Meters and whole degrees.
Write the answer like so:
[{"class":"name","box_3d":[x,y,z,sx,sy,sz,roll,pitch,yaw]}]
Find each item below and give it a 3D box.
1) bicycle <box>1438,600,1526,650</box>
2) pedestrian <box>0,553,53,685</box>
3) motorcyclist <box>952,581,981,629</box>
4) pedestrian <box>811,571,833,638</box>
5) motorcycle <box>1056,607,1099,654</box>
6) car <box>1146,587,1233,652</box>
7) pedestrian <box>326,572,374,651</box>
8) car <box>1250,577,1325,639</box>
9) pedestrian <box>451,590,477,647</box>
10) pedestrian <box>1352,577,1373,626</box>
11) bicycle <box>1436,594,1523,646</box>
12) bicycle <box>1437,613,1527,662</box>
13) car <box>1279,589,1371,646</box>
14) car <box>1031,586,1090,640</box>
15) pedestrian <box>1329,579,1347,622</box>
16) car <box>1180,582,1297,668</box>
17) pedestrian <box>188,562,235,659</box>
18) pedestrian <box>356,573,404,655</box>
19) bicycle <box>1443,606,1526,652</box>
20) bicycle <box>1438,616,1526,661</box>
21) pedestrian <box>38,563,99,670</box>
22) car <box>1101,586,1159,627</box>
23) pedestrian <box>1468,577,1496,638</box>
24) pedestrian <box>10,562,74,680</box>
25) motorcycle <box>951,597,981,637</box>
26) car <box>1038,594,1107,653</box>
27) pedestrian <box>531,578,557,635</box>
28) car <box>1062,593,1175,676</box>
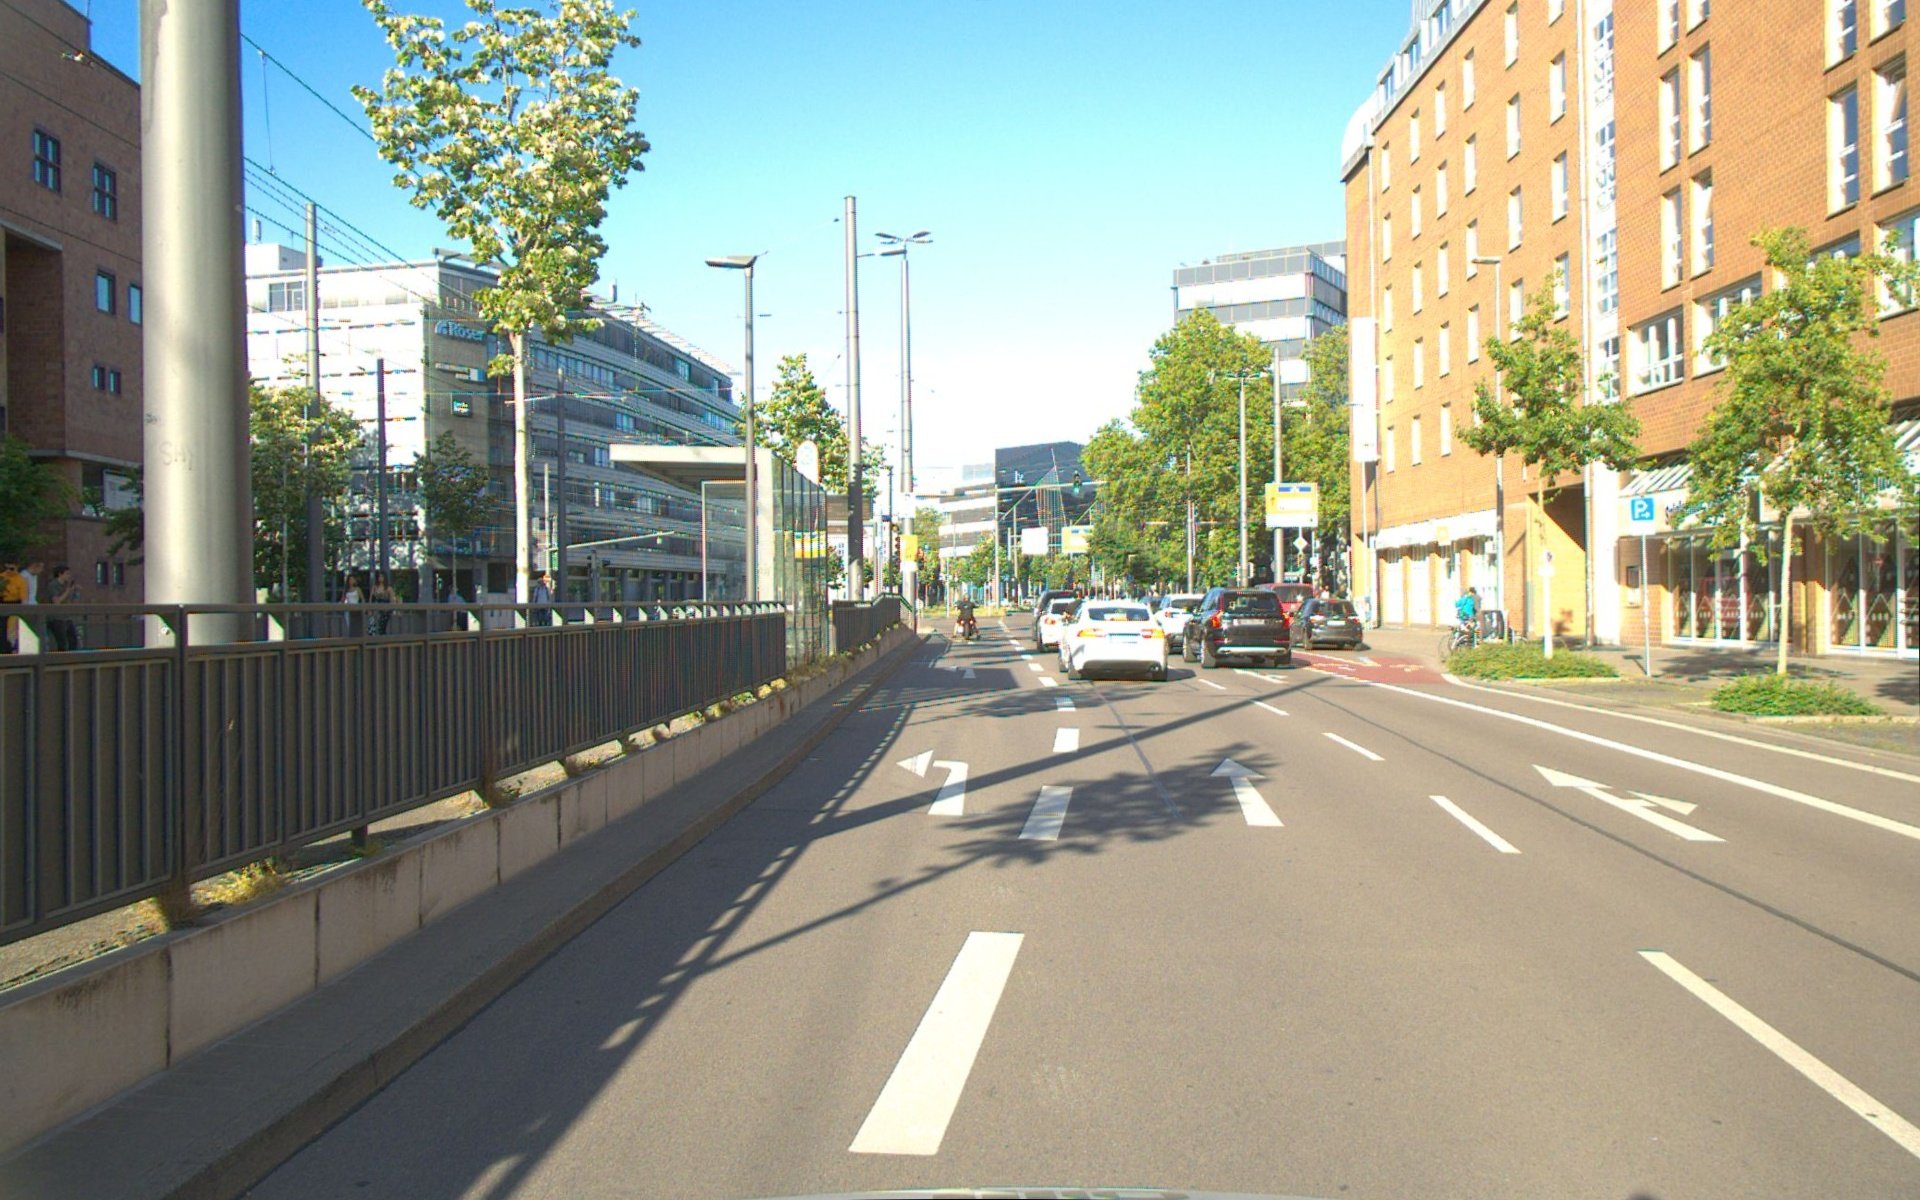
[{"class":"bicycle","box_3d":[12.310,0.588,39.051,1.903,1.094,0.555,-2,-1,11]},{"class":"pedestrian","box_3d":[-12.576,0.247,22.063,0.627,1.725,0.541,1,0,1]},{"class":"motorcyclist","box_3d":[0.230,0.181,57.593,0.998,1.631,1.148,1,0,1]},{"class":"pedestrian","box_3d":[-3.491,0.114,41.835,0.509,1.698,0.550,0,0,1]},{"class":"motorcycle","box_3d":[2.873,0.722,40.635,0.820,1.081,2.552,-1,0,-1]},{"class":"car","box_3d":[6.203,0.505,45.118,1.813,1.668,4.379,0,0,0]},{"class":"pedestrian","box_3d":[-12.744,0.234,34.571,0.627,1.636,0.945,1,0,1]},{"class":"car","box_3d":[11.092,0.239,56.250,1.822,1.995,4.001,-1,0,2]},{"class":"pedestrian","box_3d":[-14.218,0.524,47.426,0.552,1.637,0.616,0,0,1]},{"class":"pedestrian","box_3d":[15.670,0.057,64.371,0.594,1.853,0.748,-1,0,0]},{"class":"bicycle","box_3d":[12.416,0.478,39.571,1.903,1.157,0.491,-2,-1,11]},{"class":"bicycle","box_3d":[11.933,0.862,37.826,1.904,1.040,0.502,-2,-1,18]},{"class":"car","box_3d":[10.890,0.485,49.632,1.808,1.588,4.633,1,0,1]},{"class":"car","box_3d":[3.305,0.404,55.009,1.761,1.735,4.063,0,0,1]},{"class":"pedestrian","box_3d":[16.515,0.029,72.240,0.594,1.853,0.748,-1,0,0]},{"class":"car","box_3d":[6.254,0.526,37.623,1.934,1.790,4.633,1,0,1]},{"class":"pedestrian","box_3d":[-13.703,0.189,30.280,0.570,1.768,0.616,0,0,1]},{"class":"pedestrian","box_3d":[-12.107,0.286,34.567,0.627,1.672,0.945,1,0,1]},{"class":"bicycle","box_3d":[13.288,0.728,41.945,1.903,1.093,0.626,-2,-1,12]},{"class":"bicycle","box_3d":[12.097,0.887,38.340,1.904,0.986,0.554,-2,-1,18]},{"class":"pedestrian","box_3d":[-13.913,0.251,25.824,0.610,1.640,0.616,0,0,1]},{"class":"car","box_3d":[6.541,0.228,64.035,1.813,1.524,4.379,0,0,0]},{"class":"pedestrian","box_3d":[16.209,0.238,51.361,0.594,1.853,0.748,-1,0,0]},{"class":"pedestrian","box_3d":[-13.840,0.312,24.943,0.610,1.744,0.616,0,0,1]},{"class":"motorcycle","box_3d":[0.229,0.570,57.545,0.998,1.335,2.915,1,0,1]},{"class":"car","box_3d":[3.083,0.613,46.011,1.658,1.523,4.409,1,0,1]},{"class":"pedestrian","box_3d":[-13.515,0.205,53.760,0.601,1.849,0.897,0,0,1]},{"class":"car","box_3d":[2.988,0.605,31.977,1.744,1.439,4.819,1,0,0]}]
